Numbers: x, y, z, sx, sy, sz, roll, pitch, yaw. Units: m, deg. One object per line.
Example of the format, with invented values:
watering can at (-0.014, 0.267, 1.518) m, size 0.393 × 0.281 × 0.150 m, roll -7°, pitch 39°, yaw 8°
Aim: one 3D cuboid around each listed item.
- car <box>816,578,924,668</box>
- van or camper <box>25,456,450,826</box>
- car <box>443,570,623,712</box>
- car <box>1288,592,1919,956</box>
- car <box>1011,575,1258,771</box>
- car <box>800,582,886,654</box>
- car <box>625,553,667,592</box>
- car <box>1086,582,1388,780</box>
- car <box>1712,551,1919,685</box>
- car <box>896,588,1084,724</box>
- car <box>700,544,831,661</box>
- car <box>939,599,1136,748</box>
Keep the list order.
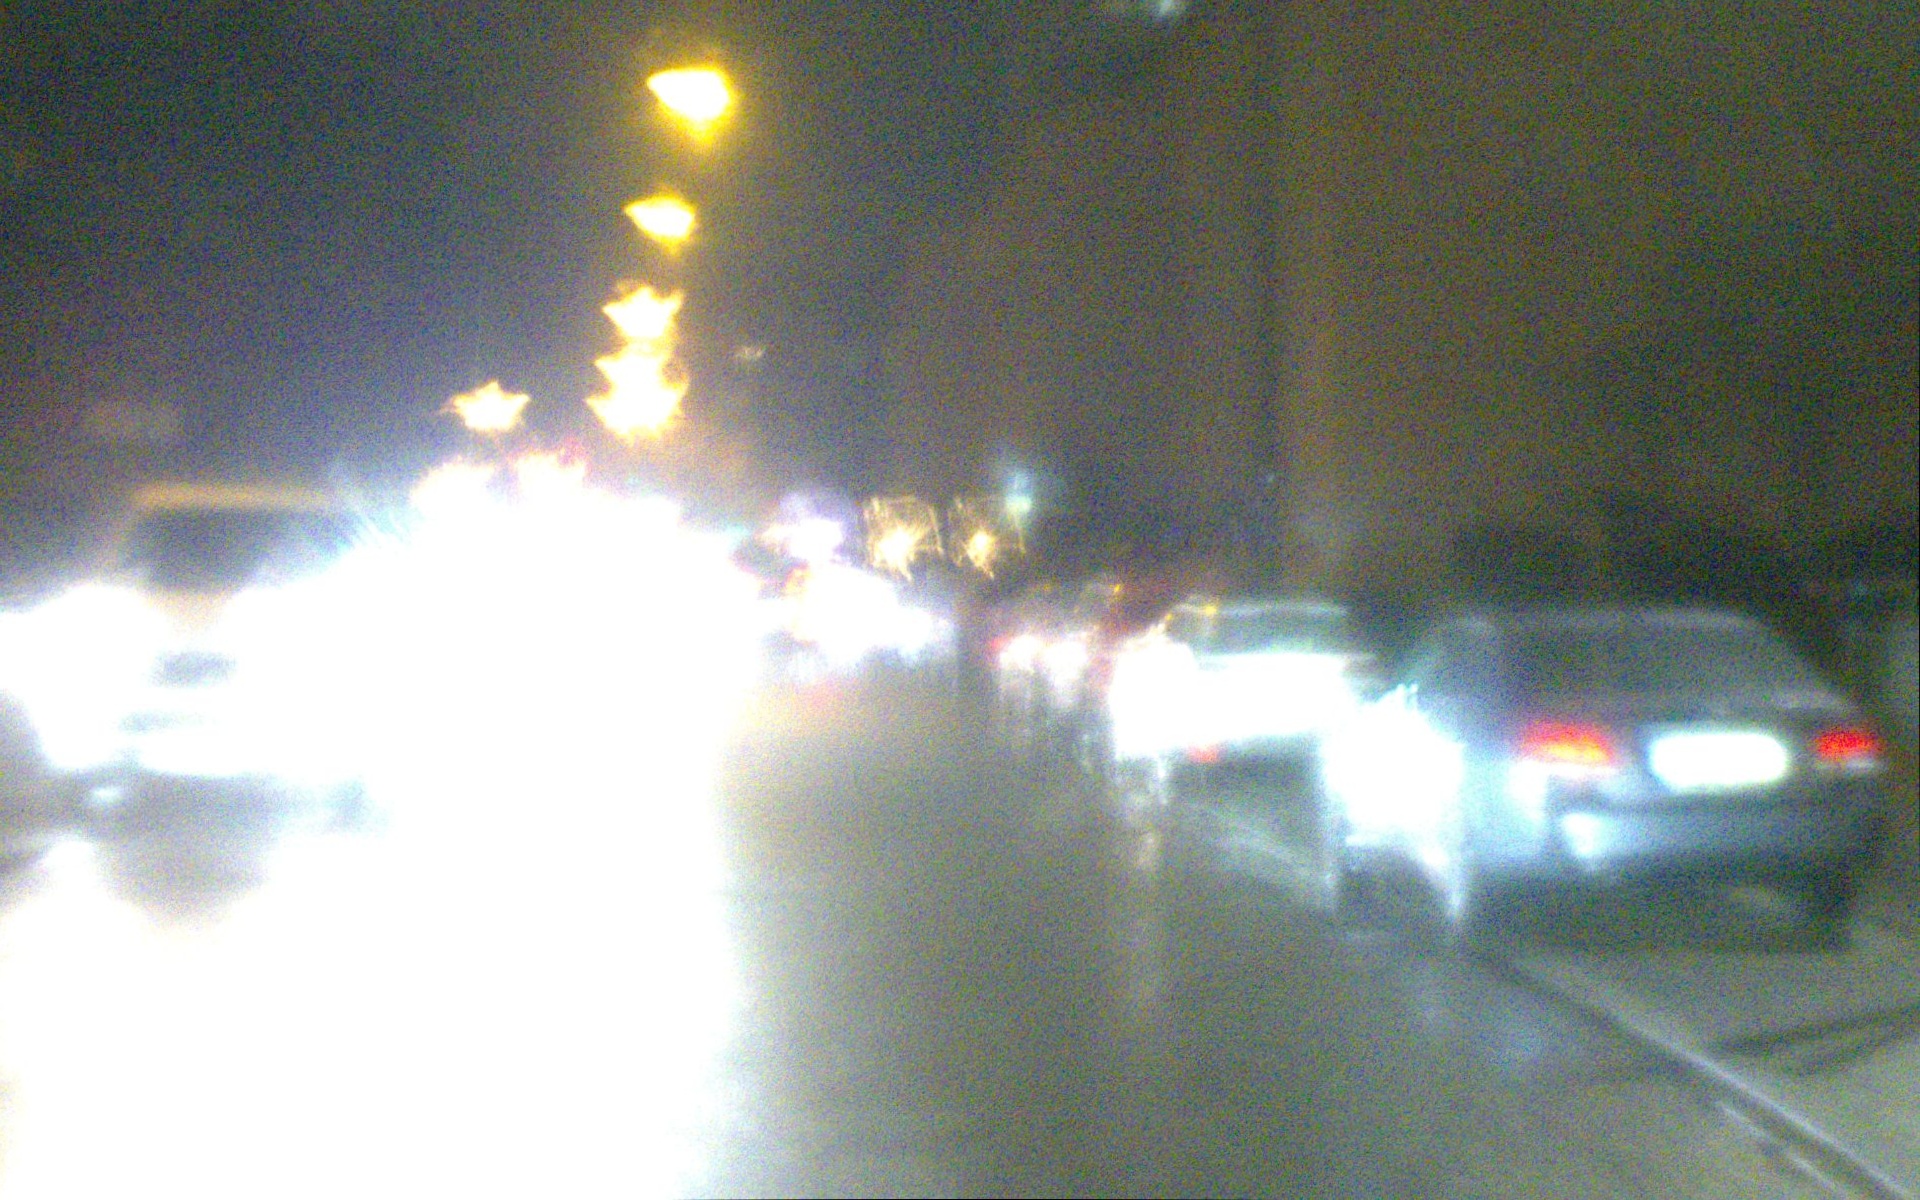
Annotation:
car at (-1.626, 0.379, 61.054) m, size 1.628 × 1.461 × 4.511 m, roll -1°, pitch 1°, yaw -5°
van or camper at (-4.485, 0.214, 22.078) m, size 1.870 × 2.096 × 4.943 m, roll 0°, pitch 0°, yaw -2°
car at (-4.883, 0.432, 39.839) m, size 1.796 × 1.456 × 4.579 m, roll 3°, pitch 0°, yaw -4°
car at (2.981, 0.732, 17.008) m, size 1.789 × 1.444 × 4.791 m, roll -1°, pitch 1°, yaw -6°
car at (1.653, 0.657, 33.916) m, size 1.712 × 1.702 × 4.188 m, roll -2°, pitch 1°, yaw -7°
car at (-2.444, 0.350, 71.091) m, size 1.495 × 1.383 × 3.748 m, roll -1°, pitch 1°, yaw -6°
car at (-14.286, -1.251, 156.350) m, size 1.812 × 1.704 × 3.805 m, roll -1°, pitch 1°, yaw -6°
car at (2.172, 0.596, 28.120) m, size 1.712 × 1.484 × 4.437 m, roll 0°, pitch 0°, yaw -5°
car at (10.955, 0.200, 39.974) m, size 3.986 × 1.515 × 1.686 m, roll 0°, pitch 1°, yaw -5°
car at (0.336, 0.690, 45.186) m, size 1.880 × 1.567 × 4.529 m, roll -2°, pitch 1°, yaw -7°
car at (-3.149, 0.008, 55.044) m, size 1.993 × 1.678 × 4.001 m, roll 1°, pitch 2°, yaw -4°
car at (0.843, 0.809, 39.931) m, size 1.754 × 1.523 × 4.154 m, roll -2°, pitch 1°, yaw -6°
